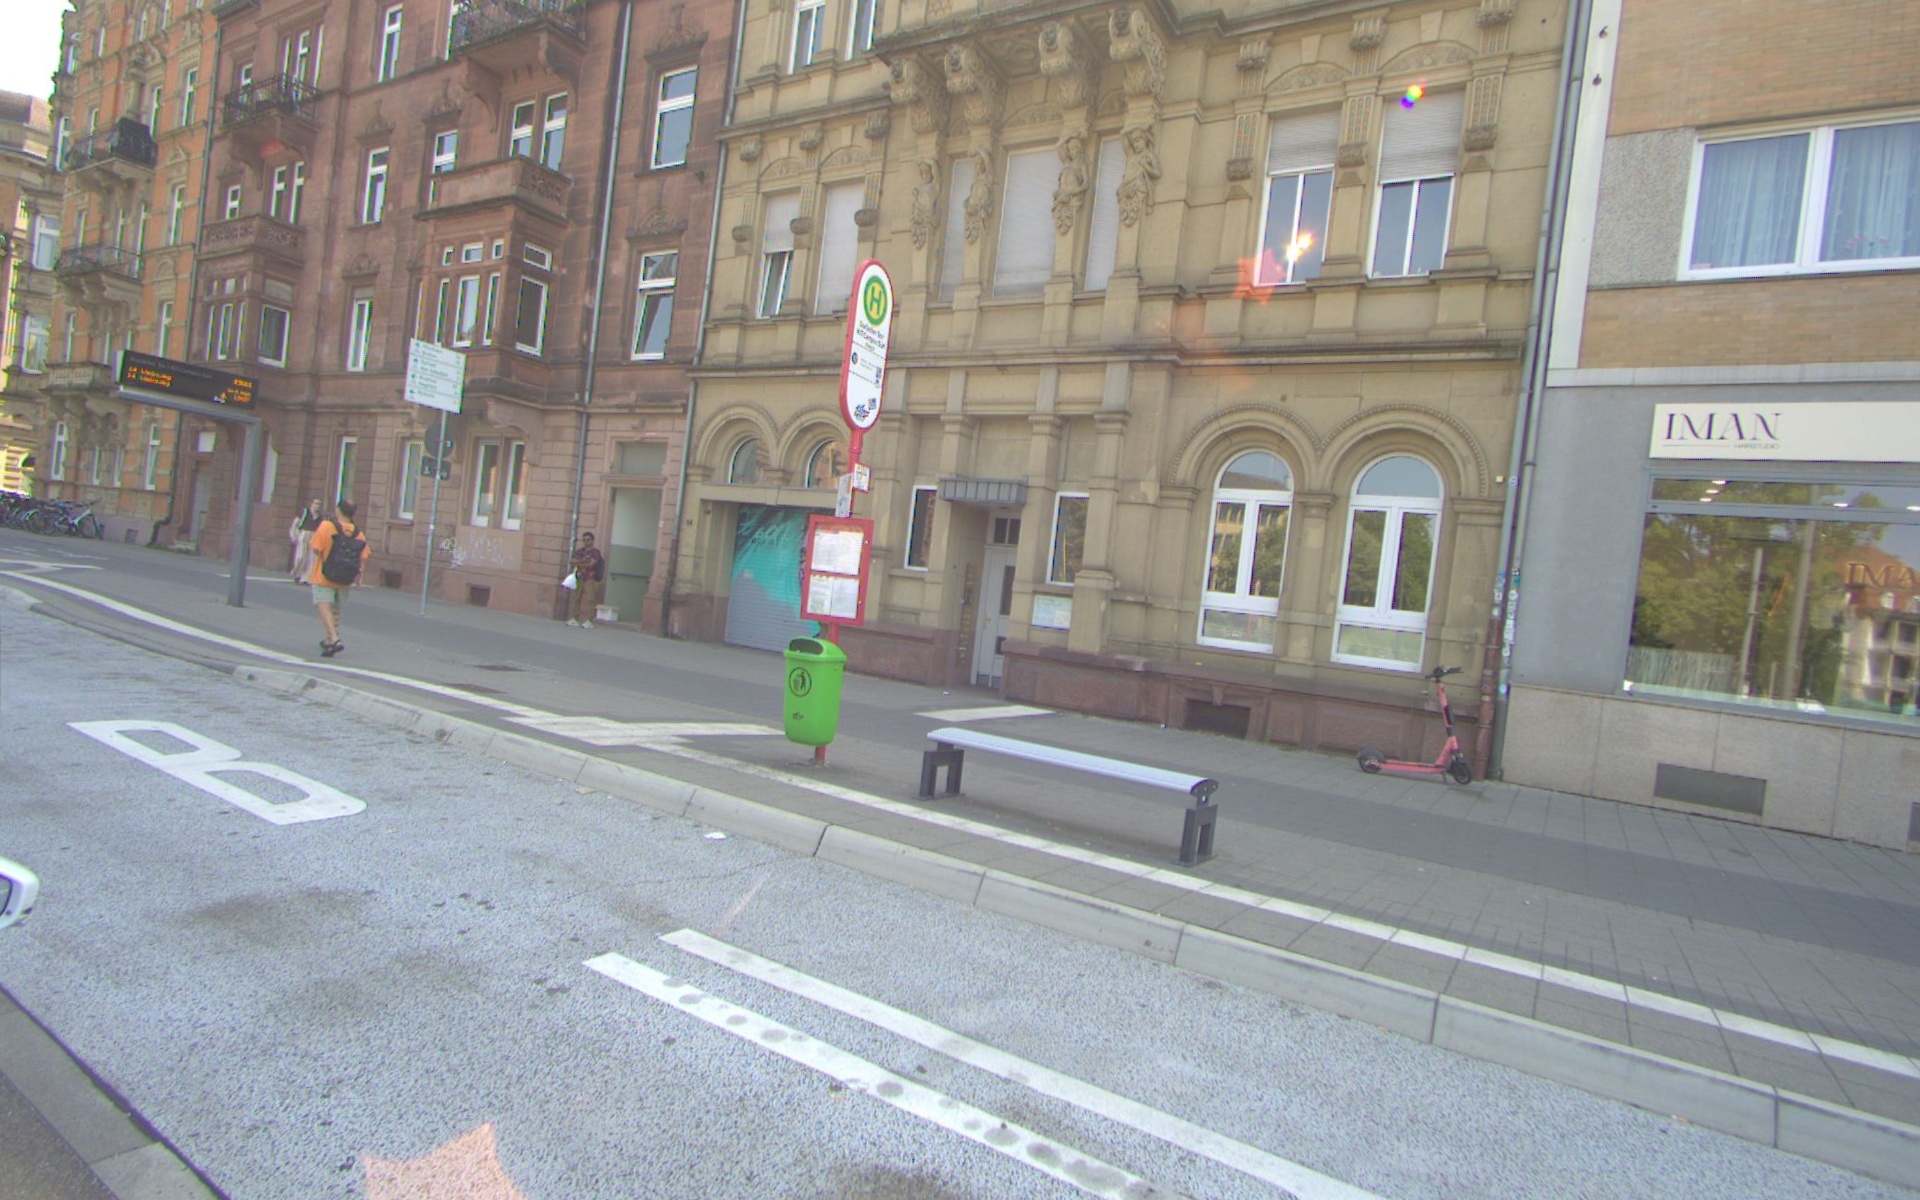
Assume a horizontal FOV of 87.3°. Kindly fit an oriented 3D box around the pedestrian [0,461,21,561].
[{"bbox_3d":[-17.550,-1.635,17.882,0.885,1.763,0.767,6,2,-3],"label":"pedestrian"}]

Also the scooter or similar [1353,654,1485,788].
[{"bbox_3d":[4.887,1.259,10.734,1.122,1.228,0.476,7,1,27],"label":"scooter or similar"}]

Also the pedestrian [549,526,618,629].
[{"bbox_3d":[-7.037,-0.400,18.832,0.729,1.800,0.870,7,1,4],"label":"pedestrian"}]

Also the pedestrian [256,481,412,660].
[{"bbox_3d":[-6.772,-0.316,10.876,1.221,1.762,0.963,5,-1,40],"label":"pedestrian"}]

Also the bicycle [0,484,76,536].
[{"bbox_3d":[-29.424,-2.860,31.068,0.857,1.388,2.997,7,0,31],"label":"bicycle"}]

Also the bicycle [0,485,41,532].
[{"bbox_3d":[-31.973,-3.117,32.628,0.932,1.390,3.007,7,0,31],"label":"bicycle"}]

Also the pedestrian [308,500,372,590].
[{"bbox_3d":[-13.282,-1.172,21.557,0.856,1.800,0.715,7,1,30],"label":"pedestrian"}]

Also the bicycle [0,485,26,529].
[{"bbox_3d":[-33.084,-3.263,33.278,0.932,1.390,3.007,7,0,31],"label":"bicycle"}]

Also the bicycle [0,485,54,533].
[{"bbox_3d":[-31.113,-3.032,32.136,0.932,1.390,3.007,7,0,31],"label":"bicycle"}]

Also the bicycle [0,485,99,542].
[{"bbox_3d":[-27.878,-2.627,30.117,0.857,1.388,2.997,7,0,31],"label":"bicycle"}]

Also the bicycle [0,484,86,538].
[{"bbox_3d":[-28.650,-2.771,30.556,0.857,1.388,2.997,7,0,31],"label":"bicycle"}]

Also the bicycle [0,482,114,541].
[{"bbox_3d":[-27.078,-2.626,29.706,0.857,1.388,2.997,7,0,31],"label":"bicycle"}]

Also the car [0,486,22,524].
[{"bbox_3d":[-42.006,-4.230,41.868,1.652,1.539,3.942,7,0,24],"label":"car"}]

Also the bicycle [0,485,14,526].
[{"bbox_3d":[-33.967,-3.385,33.784,0.932,1.390,3.007,7,0,31],"label":"bicycle"}]

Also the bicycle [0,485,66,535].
[{"bbox_3d":[-30.210,-2.929,31.558,0.932,1.390,3.007,7,0,31],"label":"bicycle"}]

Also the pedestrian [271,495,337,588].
[{"bbox_3d":[-13.632,-1.214,20.914,0.833,1.798,0.715,7,1,31],"label":"pedestrian"}]
